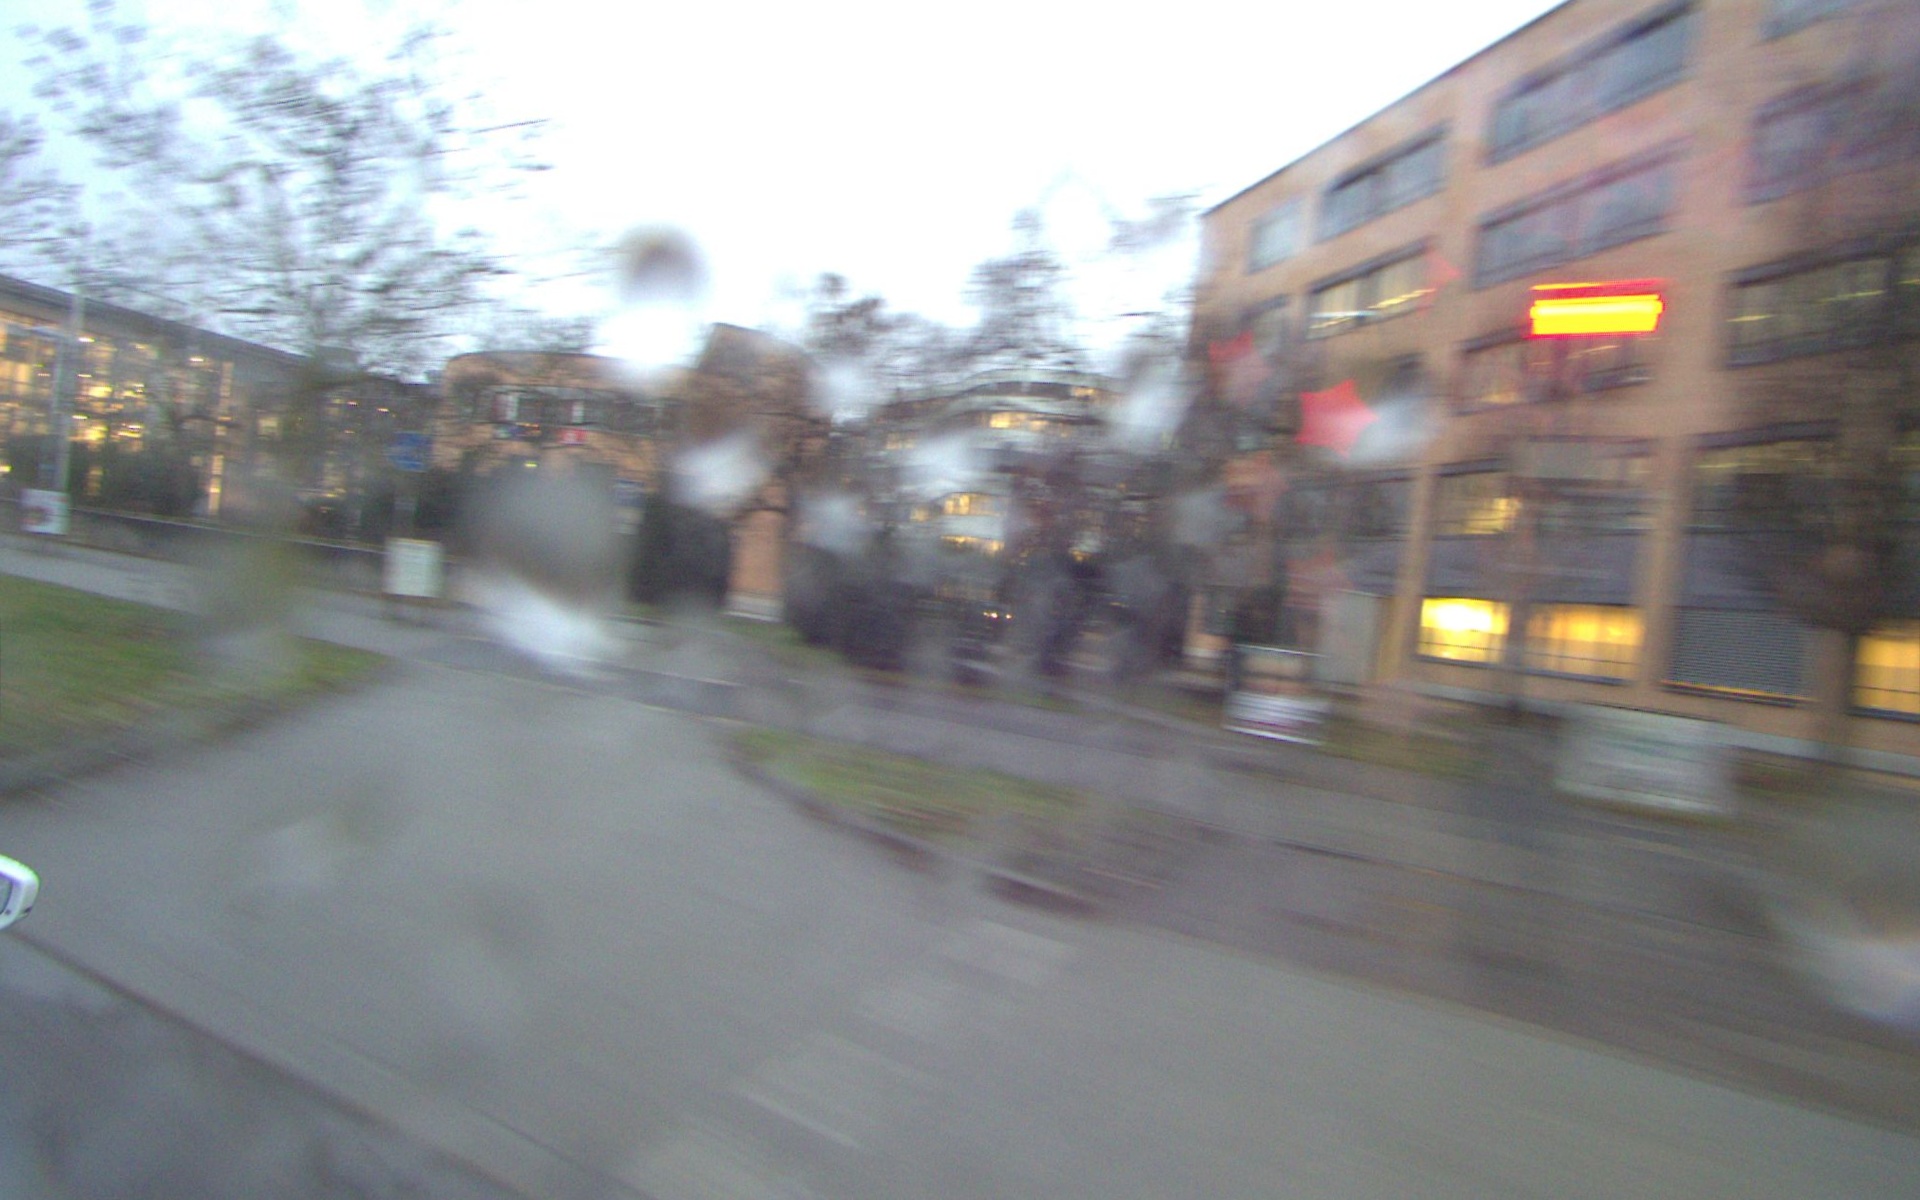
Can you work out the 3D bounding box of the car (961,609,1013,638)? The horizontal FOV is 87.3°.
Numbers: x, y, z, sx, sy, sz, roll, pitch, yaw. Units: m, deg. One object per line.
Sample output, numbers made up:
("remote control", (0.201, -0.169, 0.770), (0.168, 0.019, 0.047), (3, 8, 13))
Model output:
("car", (1.456, 1.298, 55.942), (1.648, 1.195, 3.692), (7, 0, -19))
